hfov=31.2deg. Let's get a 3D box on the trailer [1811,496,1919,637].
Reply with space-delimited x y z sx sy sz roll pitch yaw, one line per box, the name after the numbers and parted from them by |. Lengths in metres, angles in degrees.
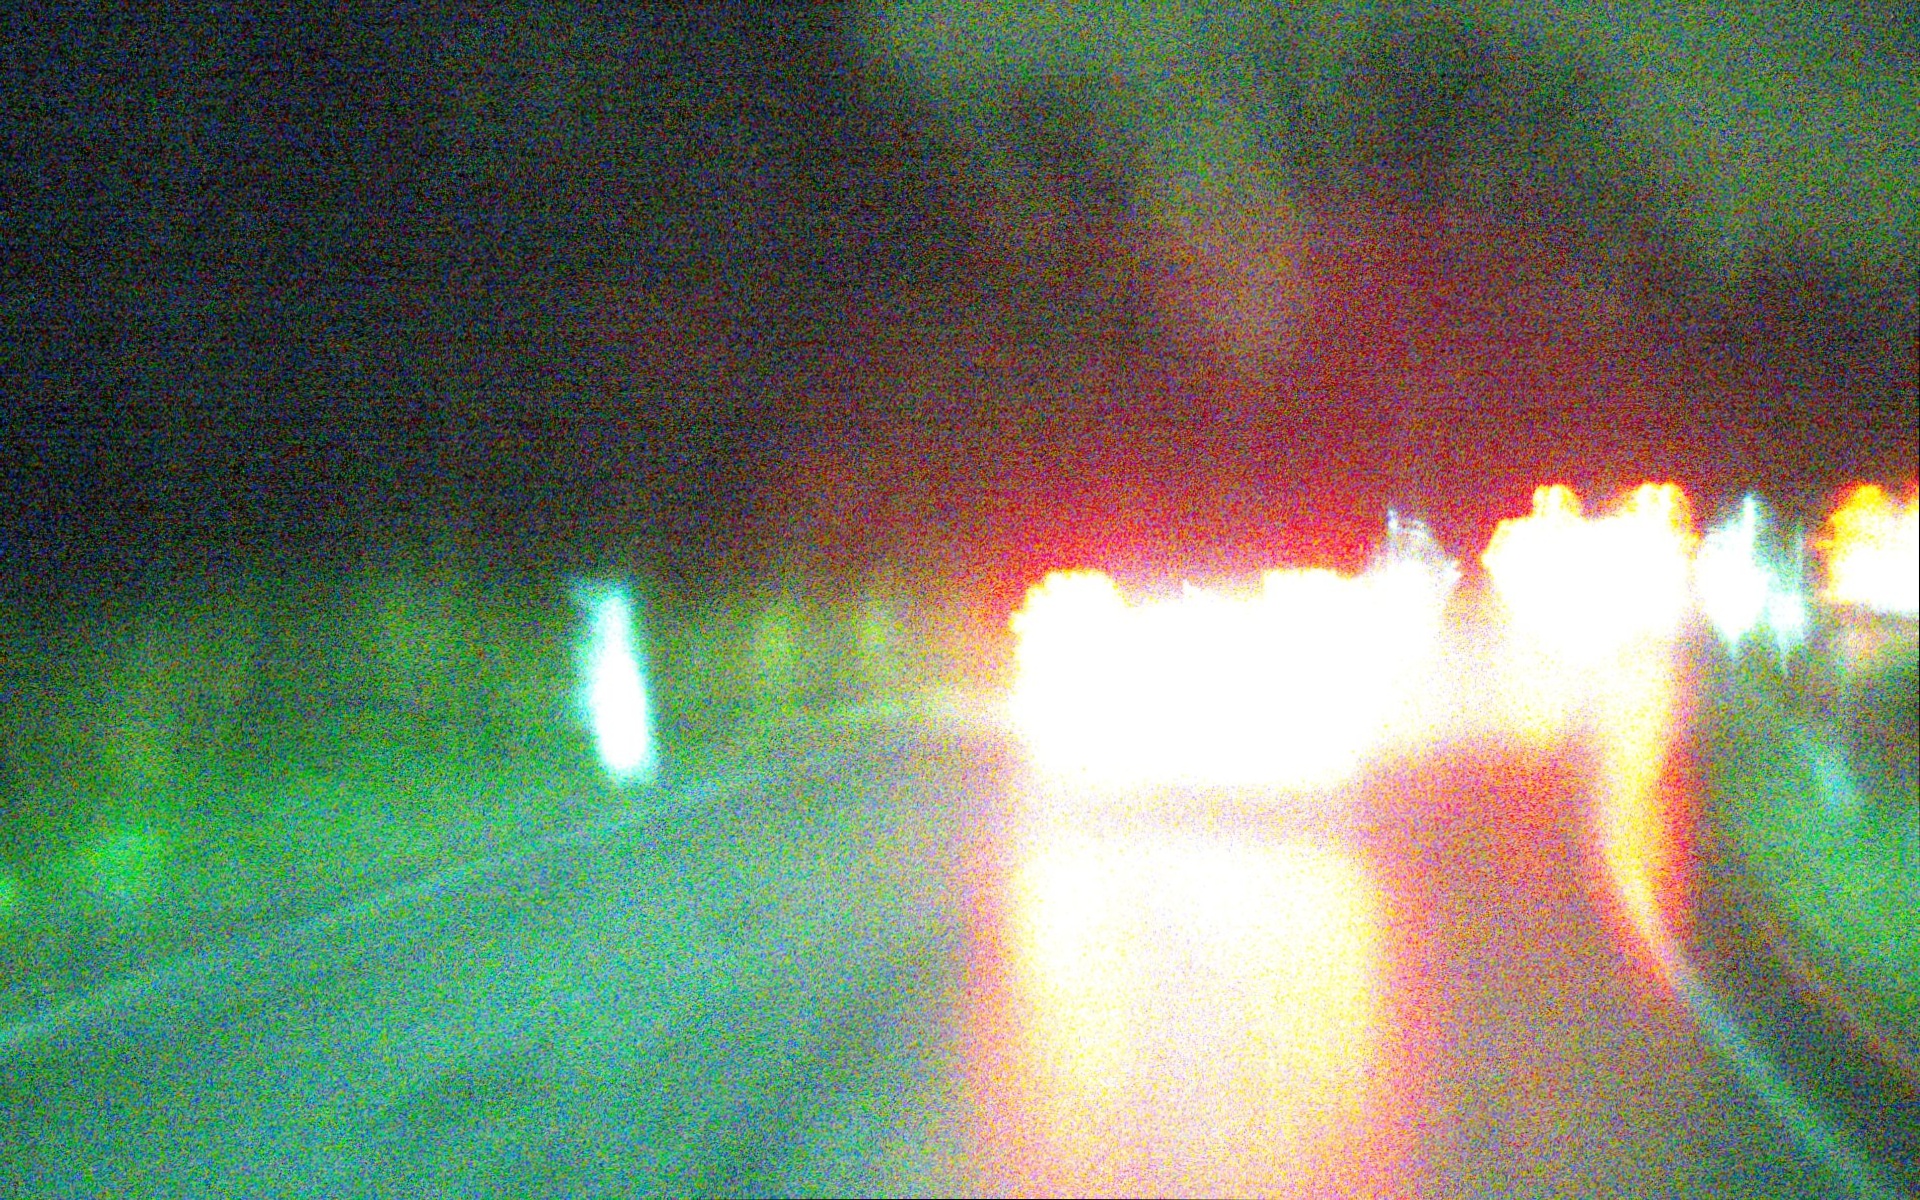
15.389 -0.463 56.152 2.080 2.007 10.637 -3 -1 18 | trailer
